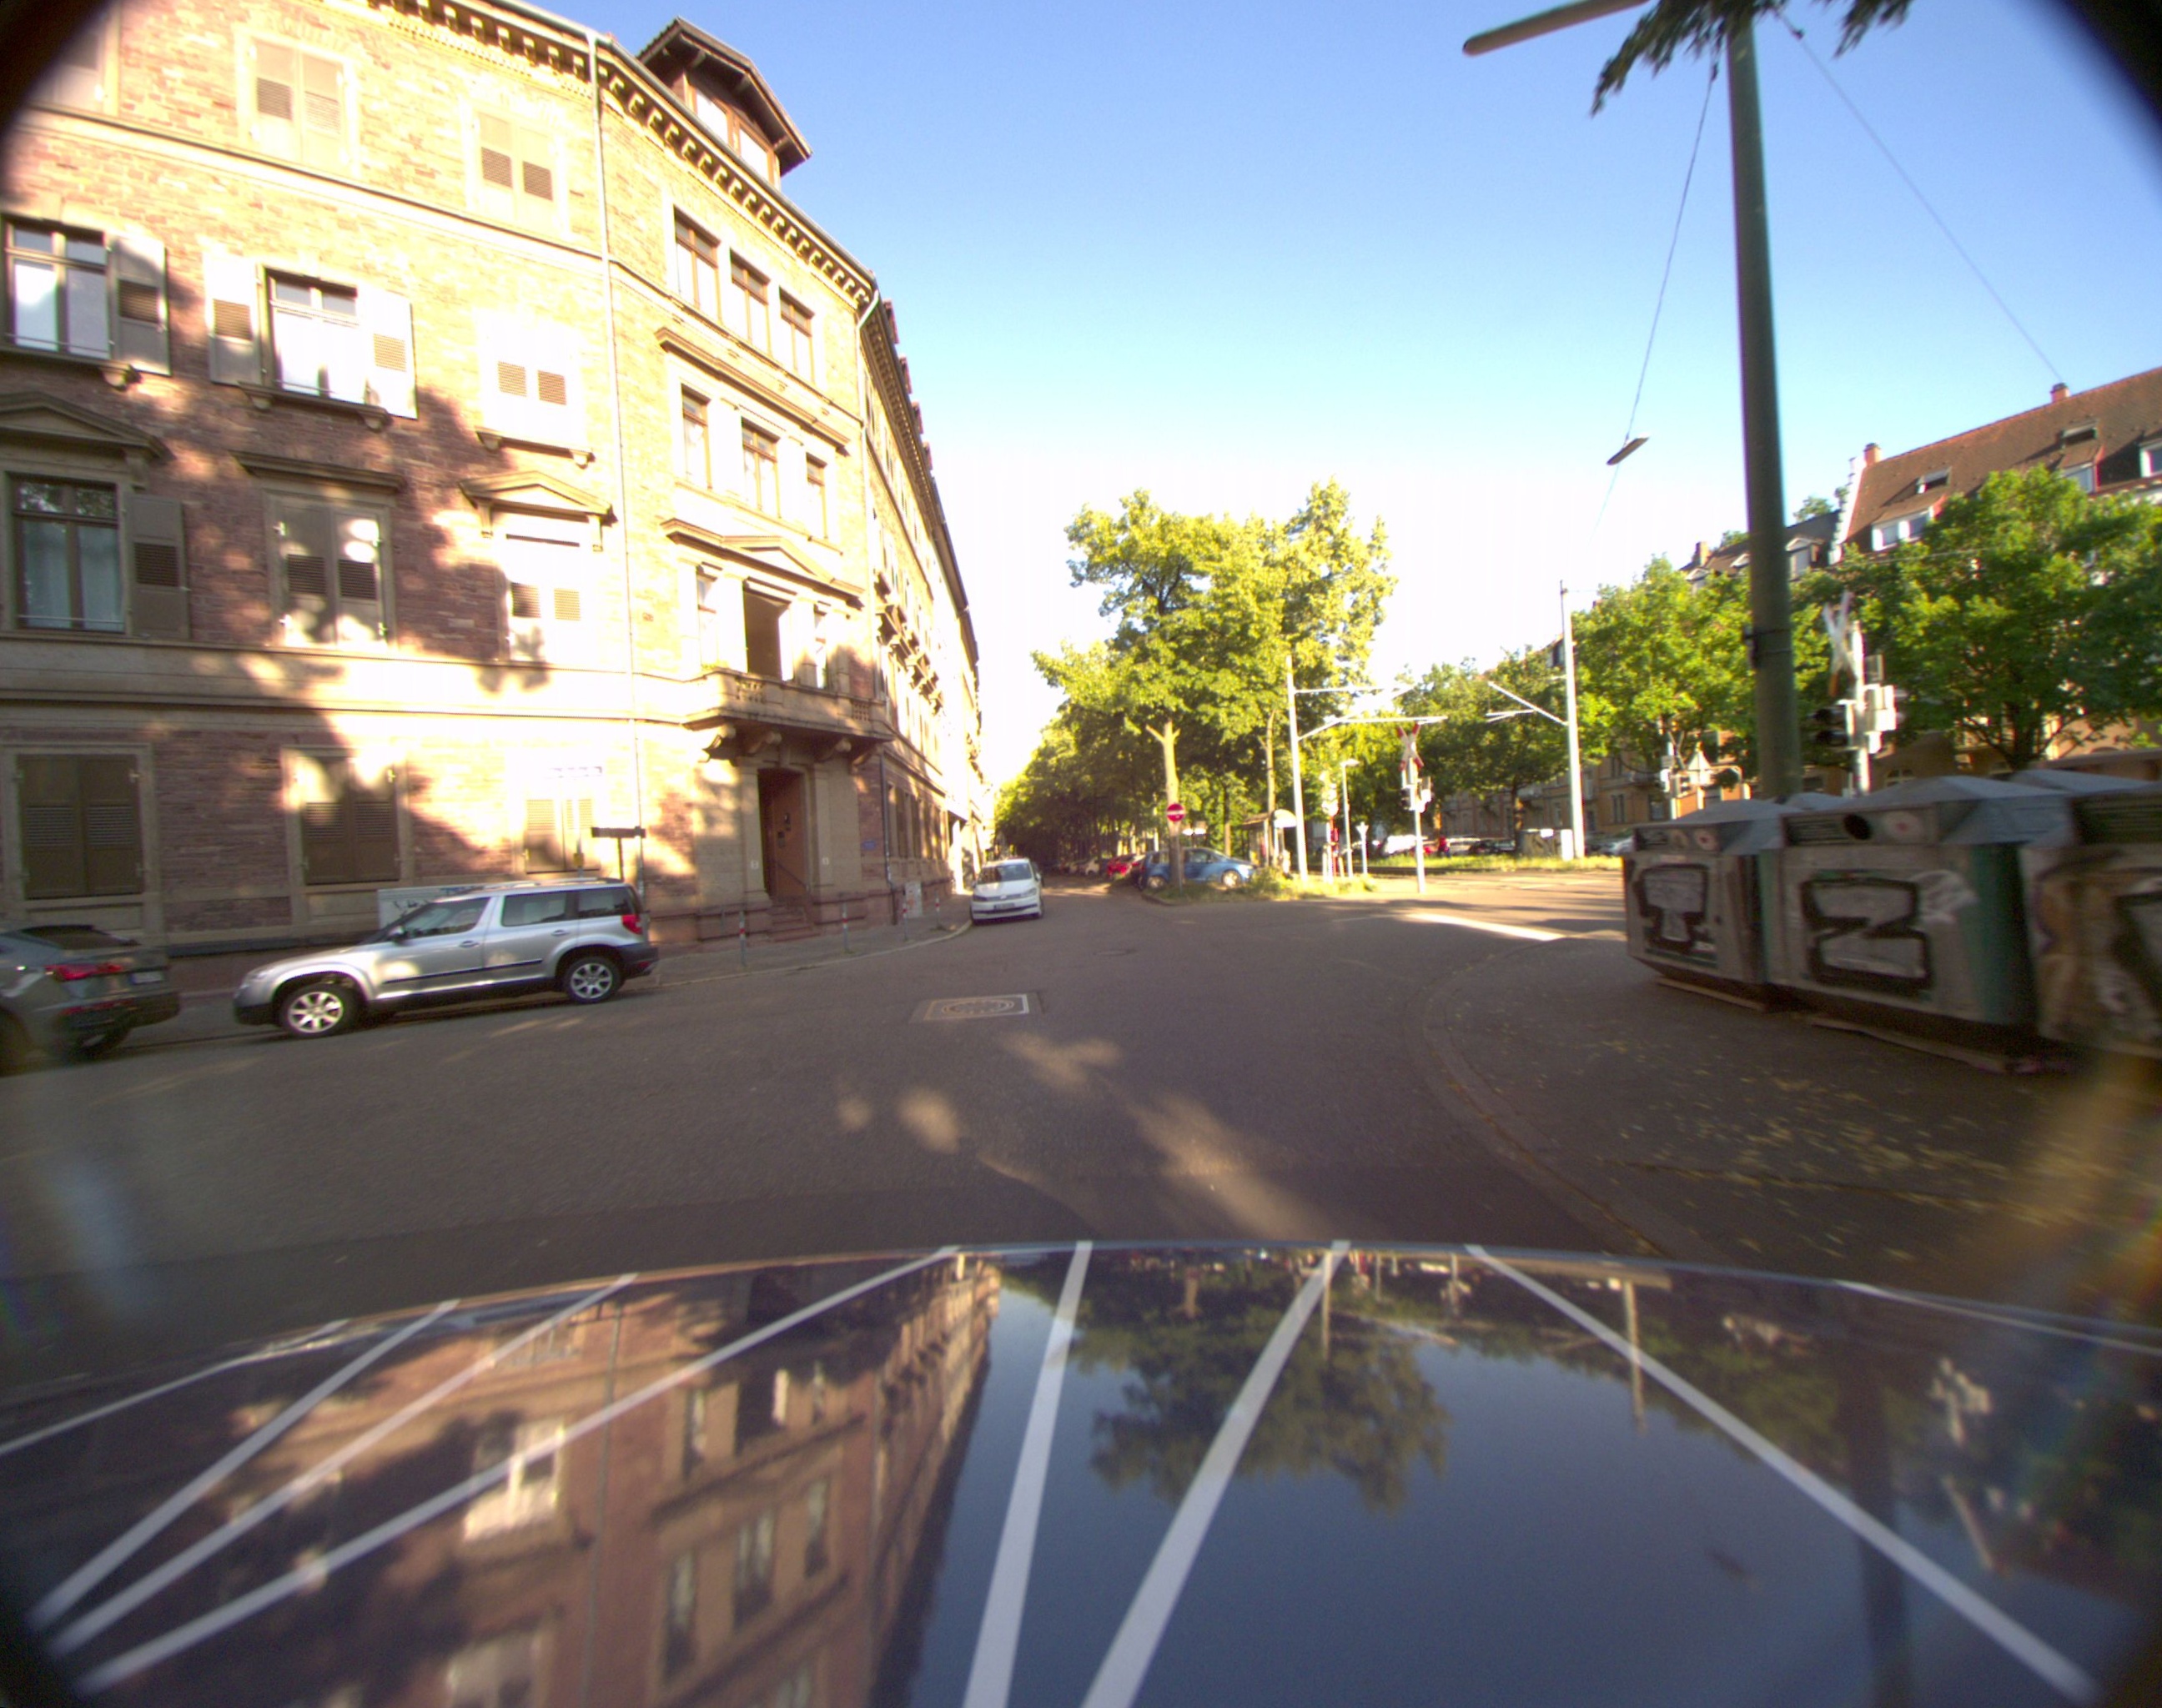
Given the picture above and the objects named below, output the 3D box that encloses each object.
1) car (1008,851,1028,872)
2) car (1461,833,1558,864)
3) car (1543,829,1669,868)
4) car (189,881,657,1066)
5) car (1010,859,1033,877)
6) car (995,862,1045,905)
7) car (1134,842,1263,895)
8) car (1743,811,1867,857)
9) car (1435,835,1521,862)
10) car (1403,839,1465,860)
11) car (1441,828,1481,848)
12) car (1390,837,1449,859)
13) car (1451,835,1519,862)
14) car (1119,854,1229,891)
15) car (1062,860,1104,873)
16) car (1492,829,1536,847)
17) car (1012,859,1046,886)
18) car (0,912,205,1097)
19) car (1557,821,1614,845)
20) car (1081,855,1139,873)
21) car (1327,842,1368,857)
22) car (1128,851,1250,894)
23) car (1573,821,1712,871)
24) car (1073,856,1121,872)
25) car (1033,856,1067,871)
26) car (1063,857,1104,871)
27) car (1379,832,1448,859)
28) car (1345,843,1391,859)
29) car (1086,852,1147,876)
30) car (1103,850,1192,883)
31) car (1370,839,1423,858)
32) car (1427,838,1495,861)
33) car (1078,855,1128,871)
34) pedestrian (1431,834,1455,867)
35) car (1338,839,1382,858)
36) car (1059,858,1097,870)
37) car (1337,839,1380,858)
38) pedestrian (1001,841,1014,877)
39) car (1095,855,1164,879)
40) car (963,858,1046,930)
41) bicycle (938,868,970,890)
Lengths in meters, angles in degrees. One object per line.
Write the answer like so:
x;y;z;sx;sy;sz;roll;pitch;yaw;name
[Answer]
-6.953;0.774;83.141;1.999;2.160;4.610;-2;0;-6;car
26.036;-0.339;46.292;4.709;1.563;2.001;-3;1;8;car
25.161;-0.274;36.576;4.547;1.563;1.951;-3;1;8;car
-7.951;1.365;9.832;4.192;1.646;1.919;-4;-3;-29;car
-5.695;1.305;71.949;1.999;1.558;4.610;-2;0;-6;car
-2.456;1.160;31.478;1.741;1.481;4.164;-6;0;-2;car
4.453;0.559;28.747;4.409;1.677;1.745;-4;0;24;car
34.832;-0.912;36.778;1.780;1.922;4.775;-5;0;8;car
26.762;-0.357;51.385;4.709;1.563;2.001;-3;1;8;car
27.443;-0.354;59.114;3.995;1.415;1.685;-2;0;6;car
38.680;-1.592;77.403;1.911;1.871;4.727;-5;0;5;car
27.342;-0.461;61.437;3.996;1.571;1.766;-2;0;3;car
25.941;-0.359;48.876;3.405;1.505;1.720;-3;0;8;car
4.201;0.834;34.471;4.541;1.478;1.933;-2;0;27;car
0.180;1.313;79.234;3.990;1.271;1.751;-2;0;26;car
37.959;-1.401;66.730;1.767;1.375;4.292;-5;0;7;car
-3.229;1.122;47.680;1.999;1.558;4.592;-2;0;-3;car
-12.254;1.616;7.353;4.549;1.712;1.829;-3;-3;-28;car
36.916;-1.504;55.744;1.687;1.466;3.883;-5;0;4;car
2.339;0.824;61.009;4.271;1.271;1.812;-2;0;27;car
30.235;-0.499;86.285;3.995;1.480;1.685;-2;0;6;car
4.469;0.777;31.544;4.541;1.625;1.933;-2;0;27;car
24.921;-0.361;33.867;4.547;1.903;1.951;-3;1;8;car
1.423;0.913;69.757;3.990;1.271;1.751;-2;0;26;car
-4.060;1.248;100.013;3.993;1.756;1.750;-2;0;13;car
0.223;1.067;81.697;3.990;1.271;1.751;-2;0;26;car
27.977;-0.713;64.023;4.854;2.026;2.156;-2;0;6;car
28.784;-0.302;76.303;3.995;1.480;1.685;-2;0;6;car
2.688;0.759;58.042;4.271;1.685;1.812;-2;0;30;car
3.690;0.718;42.267;4.540;1.711;1.933;-2;-1;36;car
28.363;-0.491;68.407;3.995;1.545;1.685;-2;0;6;car
27.007;-0.348;54.077;3.995;1.452;1.685;-2;0;6;car
1.911;0.782;66.910;3.990;1.271;1.751;-2;0;26;car
21.970;-0.221;46.172;0.904;1.907;1.150;-3;1;6;pedestrian
28.789;-0.577;78.506;3.995;1.822;1.685;-2;0;6;car
-0.350;1.143;87.662;3.990;1.271;1.751;-2;0;26;car
29.492;-0.621;80.875;3.995;1.822;1.685;-2;0;6;car
-6.107;0.449;62.976;0.920;2.930;0.699;-3;1;-7;pedestrian
3.316;0.924;52.031;4.271;1.478;1.812;-2;0;30;car
-2.034;1.021;21.457;1.874;1.640;4.497;-6;0;-2;car
-7.287;1.419;43.579;0.681;1.110;2.100;-3;0;25;bicycle
